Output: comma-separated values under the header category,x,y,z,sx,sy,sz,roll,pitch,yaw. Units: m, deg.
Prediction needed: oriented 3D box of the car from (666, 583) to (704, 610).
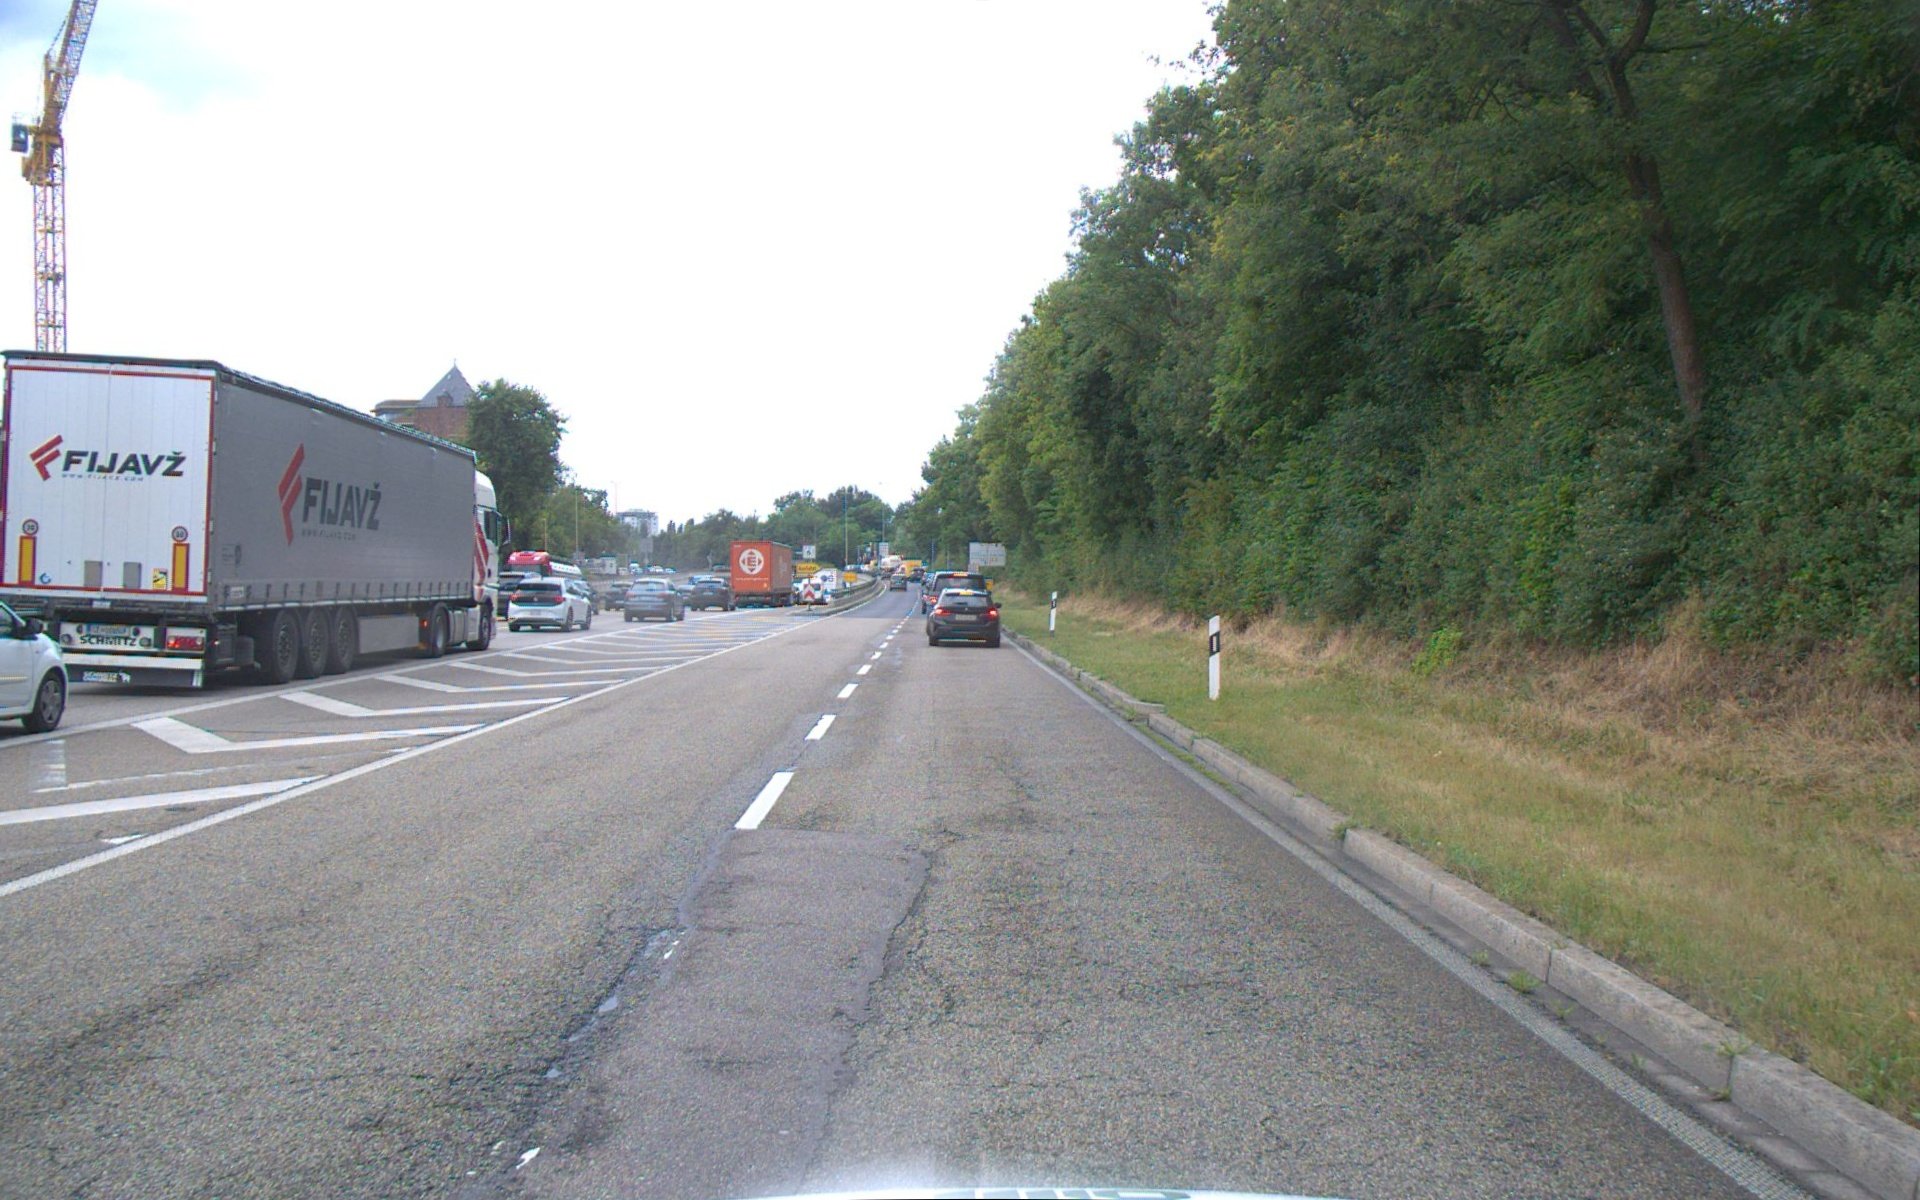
category,x,y,z,sx,sy,sz,roll,pitch,yaw
car,-17.363,-0.218,104.439,1.822,1.646,3.998,1,0,-2

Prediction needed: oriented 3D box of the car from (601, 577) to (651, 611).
category,x,y,z,sx,sy,sz,roll,pitch,yaw
car,-17.047,-0.276,84.480,1.822,1.646,3.998,1,0,-2

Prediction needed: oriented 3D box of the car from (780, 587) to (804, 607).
category,x,y,z,sx,sy,sz,roll,pitch,yaw
car,-13.286,-0.240,130.965,1.742,1.508,3.997,0,1,-3

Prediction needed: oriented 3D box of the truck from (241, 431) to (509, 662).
category,x,y,z,sx,sy,sz,roll,pitch,yaw
truck,-11.312,-0.936,32.831,3.136,4.016,7.067,1,0,-4

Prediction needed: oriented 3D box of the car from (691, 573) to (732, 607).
category,x,y,z,sx,sy,sz,roll,pitch,yaw
car,-13.074,-0.535,87.214,1.683,1.713,3.998,1,0,-3

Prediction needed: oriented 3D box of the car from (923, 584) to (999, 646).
category,x,y,z,sx,sy,sz,roll,pitch,yaw
car,-0.009,0.352,42.575,1.788,1.508,3.998,0,1,-2

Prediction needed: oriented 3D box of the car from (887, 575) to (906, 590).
category,x,y,z,sx,sy,sz,roll,pitch,yaw
car,-6.283,-1.720,163.954,1.789,1.508,3.997,0,1,-3

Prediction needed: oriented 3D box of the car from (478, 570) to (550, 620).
category,x,y,z,sx,sy,sz,roll,pitch,yaw
car,-16.232,-0.163,60.364,1.683,1.713,3.998,1,0,-3

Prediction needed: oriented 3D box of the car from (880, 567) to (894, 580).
category,x,y,z,sx,sy,sz,roll,pitch,yaw
car,-10.314,-3.748,232.620,1.774,1.741,4.000,0,0,0

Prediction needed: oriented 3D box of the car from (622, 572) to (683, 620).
category,x,y,z,sx,sy,sz,roll,pitch,yaw
car,-11.504,-0.132,62.032,1.683,1.713,3.998,1,0,-3

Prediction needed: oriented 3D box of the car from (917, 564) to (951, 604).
category,x,y,z,sx,sy,sz,roll,pitch,yaw
car,-1.406,-0.858,86.834,1.572,2.049,3.997,0,1,-4

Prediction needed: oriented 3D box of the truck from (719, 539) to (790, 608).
category,x,y,z,sx,sy,sz,roll,pitch,yaw
truck,-13.122,-1.696,106.702,3.420,4.144,13.585,0,1,-3

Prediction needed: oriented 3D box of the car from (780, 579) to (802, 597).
category,x,y,z,sx,sy,sz,roll,pitch,yaw
car,-14.295,-0.996,140.105,1.743,1.508,3.996,0,1,-5

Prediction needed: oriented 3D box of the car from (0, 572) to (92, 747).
category,x,y,z,sx,sy,sz,roll,pitch,yaw
car,-9.082,0.517,13.961,1.546,1.516,4.034,0,1,-3

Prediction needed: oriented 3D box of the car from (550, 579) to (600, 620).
category,x,y,z,sx,sy,sz,roll,pitch,yaw
car,-17.129,-0.051,73.752,1.484,1.759,3.998,0,1,-3

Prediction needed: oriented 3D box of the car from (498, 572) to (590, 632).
category,x,y,z,sx,sy,sz,roll,pitch,yaw
car,-12.090,0.071,48.343,1.764,1.632,4.255,1,0,-3

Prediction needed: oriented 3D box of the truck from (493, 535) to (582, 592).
category,x,y,z,sx,sy,sz,roll,pitch,yaw
truck,-29.077,-2.436,114.330,3.523,3.569,10.558,1,0,-1

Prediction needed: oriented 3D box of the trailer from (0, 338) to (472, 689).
category,x,y,z,sx,sy,sz,roll,pitch,yaw
trailer,-10.881,-1.017,26.224,3.234,4.107,13.086,1,0,-4
